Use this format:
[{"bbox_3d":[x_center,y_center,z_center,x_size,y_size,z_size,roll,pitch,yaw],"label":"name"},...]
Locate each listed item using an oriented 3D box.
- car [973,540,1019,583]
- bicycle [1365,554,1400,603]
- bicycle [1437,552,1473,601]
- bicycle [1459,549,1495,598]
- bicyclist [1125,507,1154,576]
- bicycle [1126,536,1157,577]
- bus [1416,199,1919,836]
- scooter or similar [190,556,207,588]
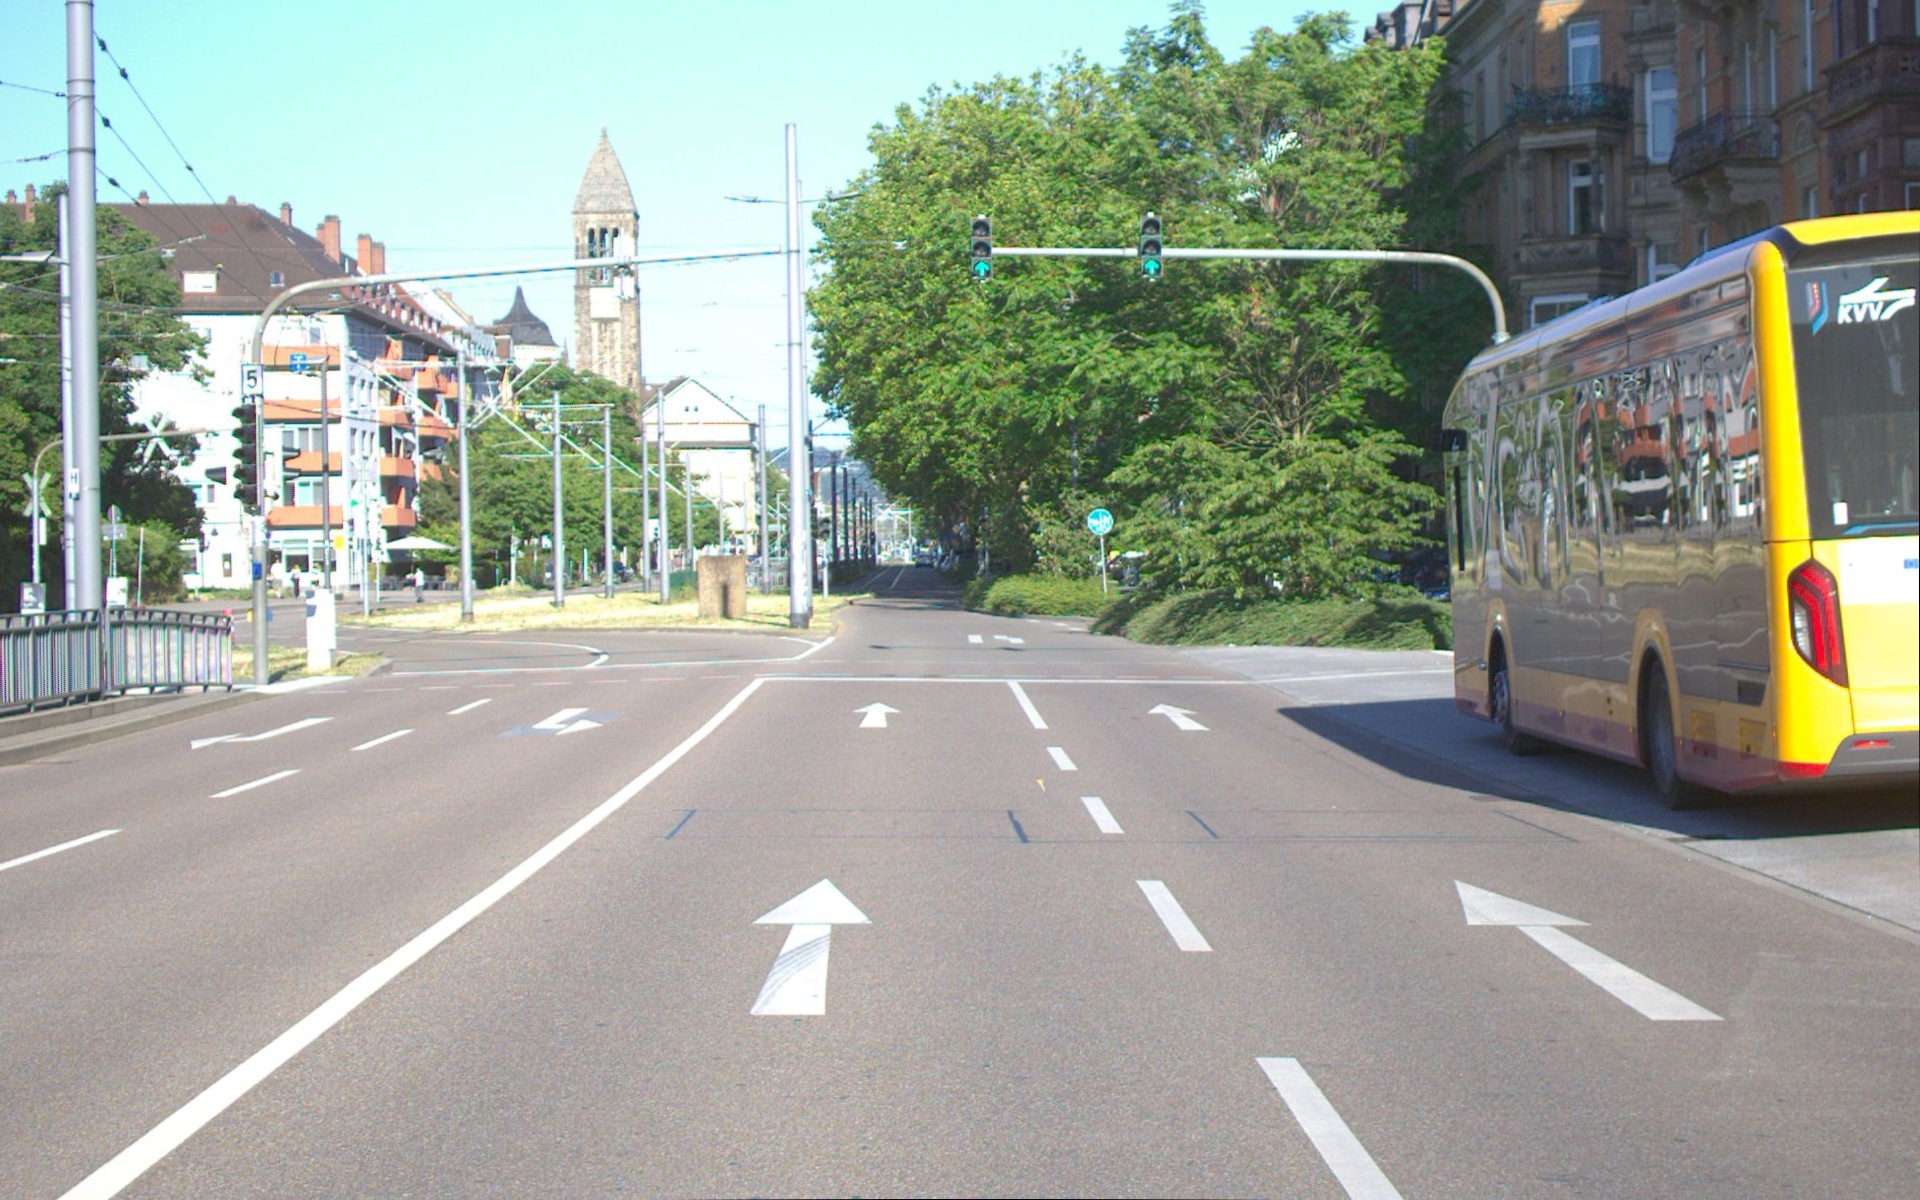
[{"bbox_3d":[1.349,-1.462,129.555,1.643,1.506,4.183,-2,1,0],"label":"car"},{"bbox_3d":[9.967,-0.514,81.113,0.518,1.044,1.821,-2,4,-1],"label":"bicycle"},{"bbox_3d":[11.690,-0.558,81.159,0.518,1.044,1.821,-2,4,-1],"label":"bicycle"},{"bbox_3d":[12.314,-0.627,81.853,0.518,1.044,1.821,-2,4,-1],"label":"bicycle"},{"bbox_3d":[4.843,-1.579,92.733,0.641,1.808,1.052,-2,0,-1],"label":"bicyclist"},{"bbox_3d":[4.893,-1.170,92.732,0.641,1.044,2.360,-2,0,-1],"label":"bicycle"},{"bbox_3d":[5.429,-0.571,23.529,2.715,3.170,12.542,-2,1,-1],"label":"bus"},{"bbox_3d":[-32.675,-1.208,147.580,0.401,1.256,1.231,-2,4,0],"label":"scooter or similar"}]
